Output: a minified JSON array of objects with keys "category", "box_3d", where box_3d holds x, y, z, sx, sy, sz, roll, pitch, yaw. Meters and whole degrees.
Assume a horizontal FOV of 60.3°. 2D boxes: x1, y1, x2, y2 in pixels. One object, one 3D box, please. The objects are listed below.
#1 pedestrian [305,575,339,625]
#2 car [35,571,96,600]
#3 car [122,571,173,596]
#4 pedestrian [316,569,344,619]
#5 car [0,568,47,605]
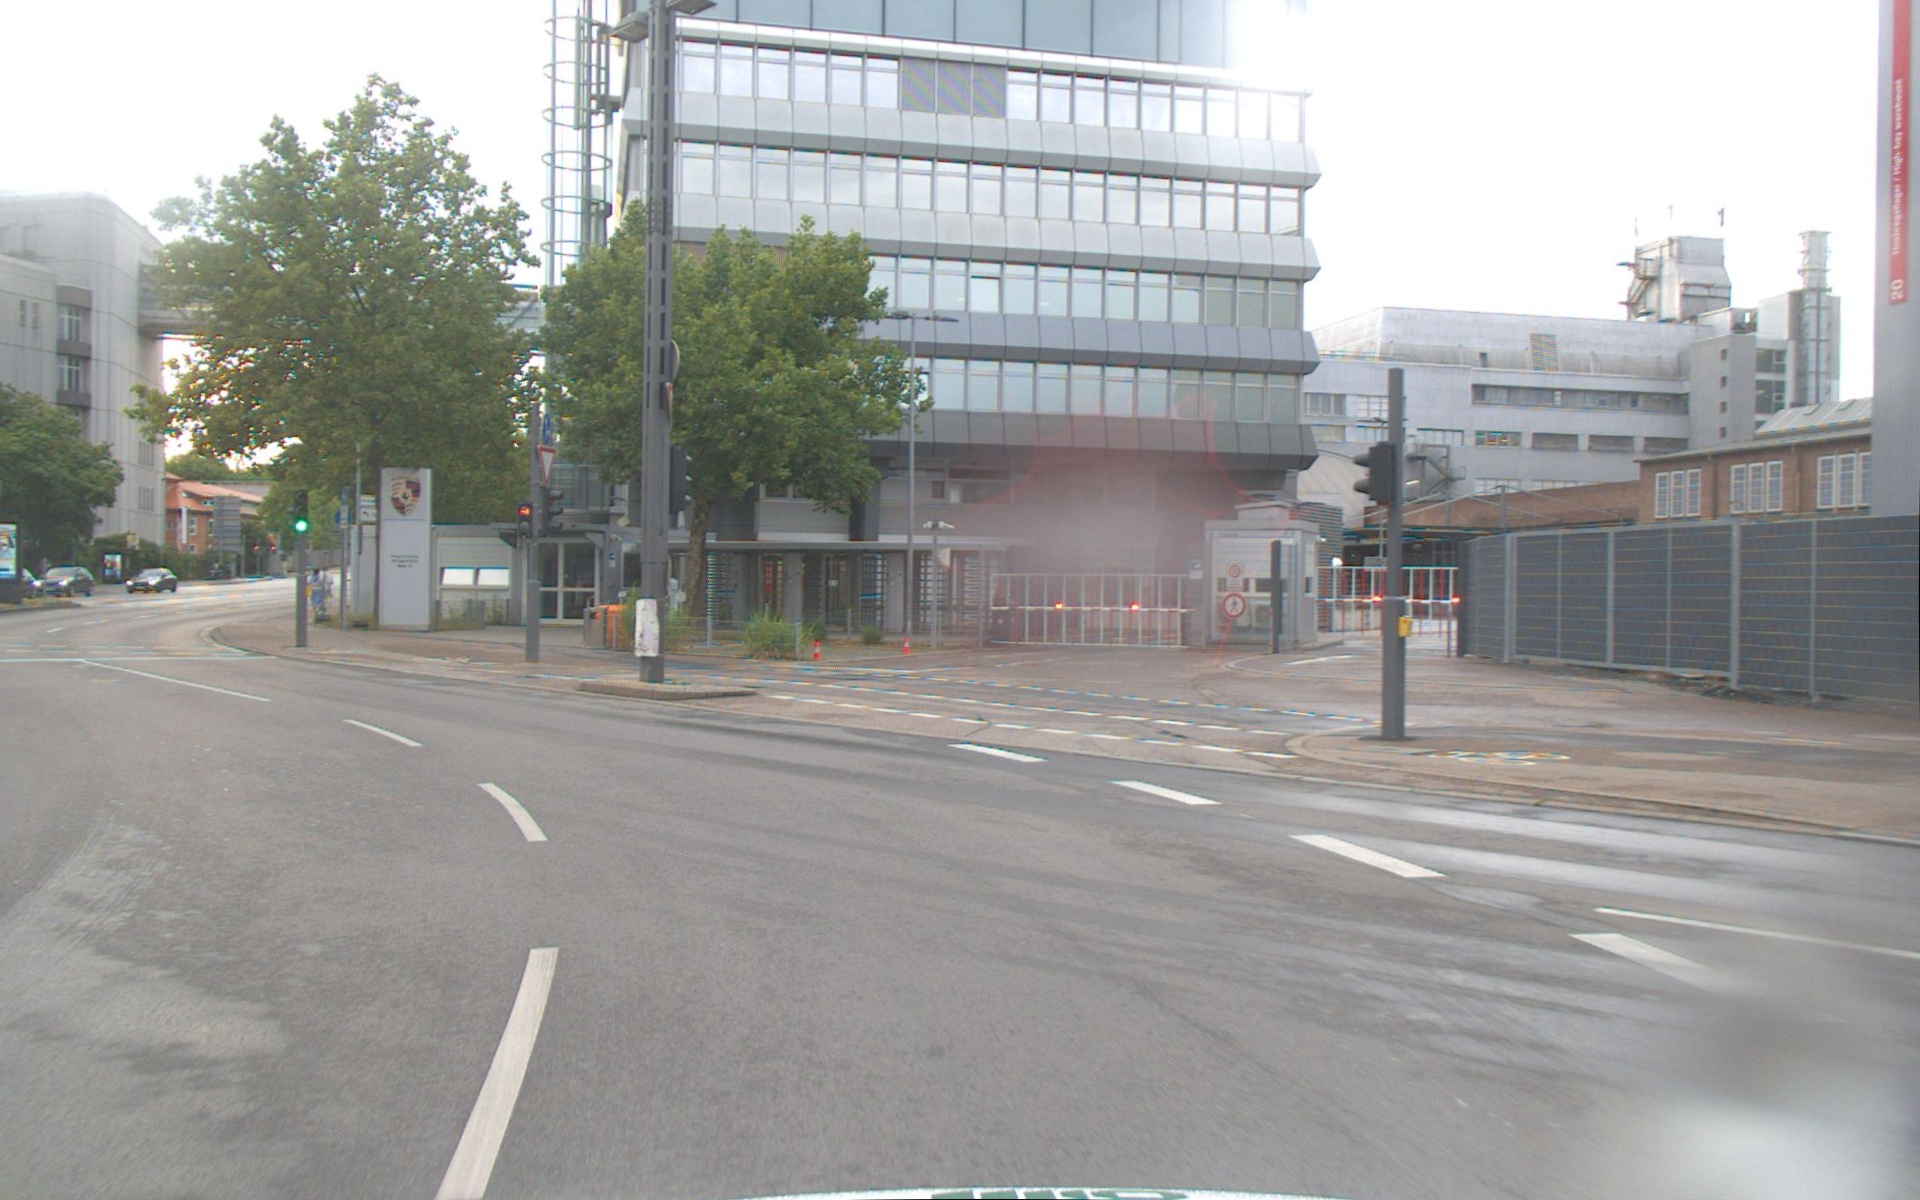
[{"category":"pedestrian","box_3d":[-19.957,-0.015,51.766,0.816,1.547,0.840,0,1,-10]},{"category":"car","box_3d":[-46.442,-0.774,85.963,1.753,1.479,4.542,-1,1,-15]},{"category":"car","box_3d":[-48.649,-1.019,99.143,1.752,1.409,4.530,-2,1,-14]},{"category":"pedestrian","box_3d":[-20.438,-0.204,53.662,0.696,1.620,0.839,0,1,-9]},{"category":"car","box_3d":[-39.294,-0.574,67.996,1.750,1.465,4.385,0,1,-10]}]
